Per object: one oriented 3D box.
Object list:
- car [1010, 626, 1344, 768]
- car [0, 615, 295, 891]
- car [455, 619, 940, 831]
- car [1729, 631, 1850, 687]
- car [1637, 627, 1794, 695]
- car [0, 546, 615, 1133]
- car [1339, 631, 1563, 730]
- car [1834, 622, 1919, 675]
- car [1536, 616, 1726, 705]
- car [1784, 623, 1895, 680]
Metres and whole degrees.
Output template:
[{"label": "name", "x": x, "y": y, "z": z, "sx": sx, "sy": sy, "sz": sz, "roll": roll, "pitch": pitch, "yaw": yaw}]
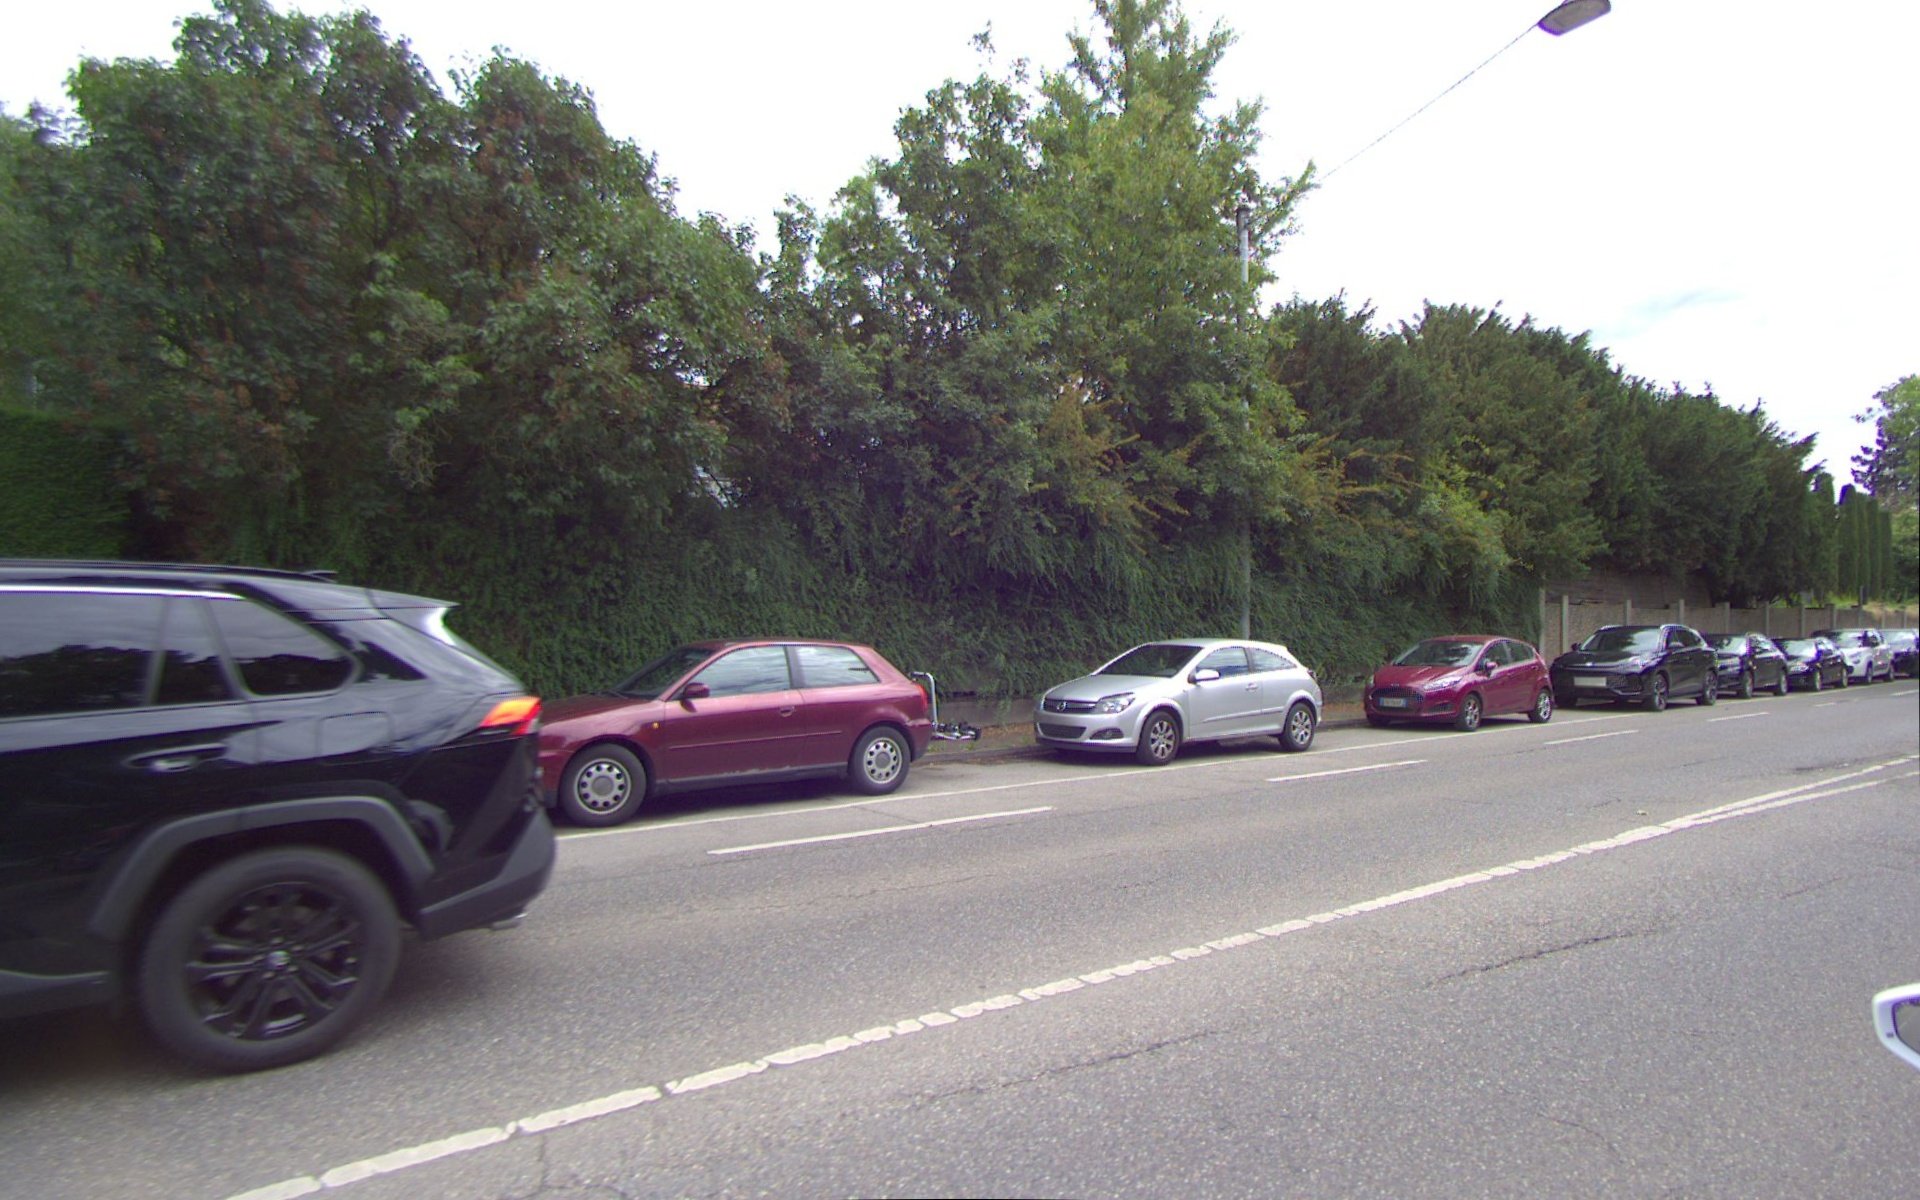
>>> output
[{"label": "car", "x": 2.837, "y": 1.119, "z": 12.669, "sx": 4.389, "sy": 1.508, "sz": 1.658, "roll": 2, "pitch": -3, "yaw": -36}, {"label": "car", "x": -6.349, "y": 0.860, "z": 5.877, "sx": 3.990, "sy": 1.514, "sz": 1.876, "roll": 2, "pitch": -3, "yaw": -37}, {"label": "car", "x": -2.217, "y": 0.962, "z": 8.975, "sx": 3.875, "sy": 1.497, "sz": 1.657, "roll": 2, "pitch": -3, "yaw": -37}, {"label": "car", "x": 22.906, "y": 1.584, "z": 27.687, "sx": 4.182, "sy": 1.419, "sz": 1.636, "roll": 2, "pitch": -2, "yaw": -37}, {"label": "car", "x": 18.426, "y": 1.451, "z": 24.454, "sx": 4.064, "sy": 1.531, "sz": 1.934, "roll": 2, "pitch": -3, "yaw": -36}, {"label": "car", "x": -3.560, "y": 0.686, "z": 3.400, "sx": 4.172, "sy": 1.668, "sz": 1.830, "roll": 2, "pitch": -2, "yaw": -35}, {"label": "car", "x": 8.228, "y": 1.265, "z": 16.718, "sx": 3.963, "sy": 1.457, "sz": 1.766, "roll": 2, "pitch": -2, "yaw": -37}, {"label": "car", "x": 31.031, "y": 1.603, "z": 33.633, "sx": 4.391, "sy": 1.646, "sz": 1.873, "roll": 2, "pitch": -2, "yaw": -38}, {"label": "car", "x": 13.966, "y": 1.206, "z": 20.831, "sx": 4.426, "sy": 1.664, "sz": 1.979, "roll": 2, "pitch": -2, "yaw": -38}, {"label": "car", "x": 26.741, "y": 1.548, "z": 30.503, "sx": 4.057, "sy": 1.613, "sz": 1.661, "roll": 1, "pitch": -3, "yaw": -36}]
